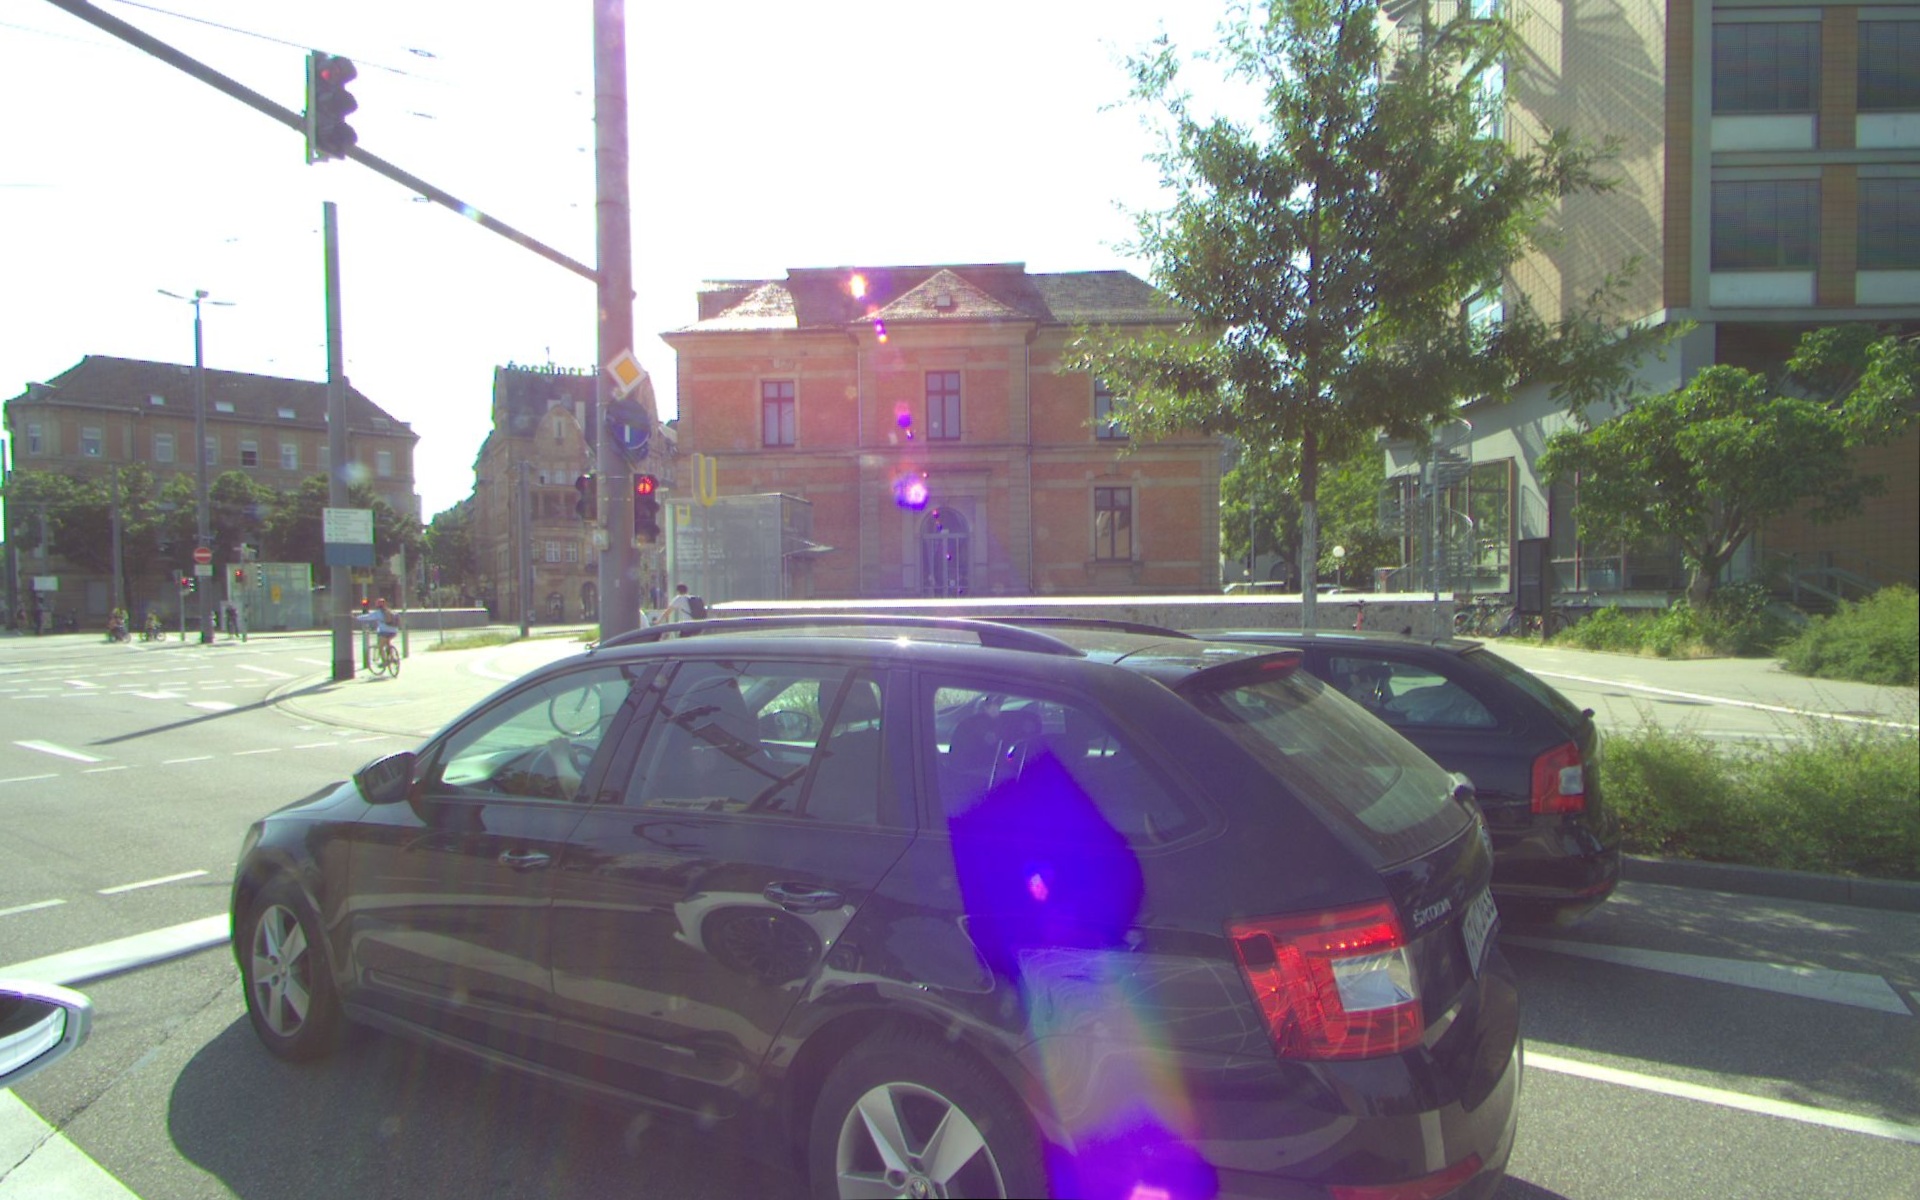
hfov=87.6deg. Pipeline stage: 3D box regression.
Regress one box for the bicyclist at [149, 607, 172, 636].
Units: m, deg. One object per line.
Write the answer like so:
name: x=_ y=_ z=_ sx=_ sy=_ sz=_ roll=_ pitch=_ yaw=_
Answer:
bicyclist: x=-40.967 y=1.095 z=51.326 sx=0.919 sy=1.470 sz=1.242 roll=1 pitch=-1 yaw=-38

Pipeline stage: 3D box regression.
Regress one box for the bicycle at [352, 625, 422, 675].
bicycle: x=-13.125 y=1.122 z=22.908 sx=1.997 sy=1.029 sz=0.710 roll=-1 pitch=3 yaw=41

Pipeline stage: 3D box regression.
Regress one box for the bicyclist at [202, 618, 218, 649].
bicyclist: x=-39.892 y=1.789 z=53.250 sx=0.641 sy=1.642 sz=0.498 roll=0 pitch=-1 yaw=38

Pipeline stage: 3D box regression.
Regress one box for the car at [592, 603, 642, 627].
car: x=-19.243 y=0.819 z=56.347 sx=1.639 sy=1.331 sz=3.452 roll=-1 pitch=0 yaw=-1

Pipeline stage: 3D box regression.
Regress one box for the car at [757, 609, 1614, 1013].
car: x=1.064 y=0.823 z=5.660 sx=4.334 sy=1.449 sz=1.696 roll=0 pitch=2 yaw=32

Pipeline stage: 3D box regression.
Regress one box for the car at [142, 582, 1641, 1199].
car: x=-0.679 y=0.764 z=3.284 sx=4.710 sy=1.454 sz=1.628 roll=-1 pitch=-1 yaw=31

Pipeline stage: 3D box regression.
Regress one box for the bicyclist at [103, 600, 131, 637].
bicyclist: x=-42.095 y=0.936 z=49.979 sx=1.041 sy=1.843 sz=0.922 roll=-1 pitch=-2 yaw=42

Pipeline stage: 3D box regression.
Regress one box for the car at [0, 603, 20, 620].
car: x=-116.858 y=1.429 z=122.866 sx=2.094 sy=2.040 sz=3.962 roll=-1 pitch=0 yaw=-43

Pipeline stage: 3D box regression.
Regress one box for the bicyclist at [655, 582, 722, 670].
bicyclist: x=-4.841 y=0.471 z=17.834 sx=0.936 sy=1.507 sz=0.713 roll=-1 pitch=-2 yaw=32

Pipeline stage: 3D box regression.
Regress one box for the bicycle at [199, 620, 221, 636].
bicycle: x=-39.900 y=1.490 z=53.265 sx=1.567 sy=0.877 sz=0.498 roll=0 pitch=-1 yaw=38

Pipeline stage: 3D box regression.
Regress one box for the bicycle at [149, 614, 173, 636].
bicycle: x=-41.106 y=1.295 z=51.518 sx=0.919 sy=1.083 sz=2.819 roll=1 pitch=-1 yaw=-38

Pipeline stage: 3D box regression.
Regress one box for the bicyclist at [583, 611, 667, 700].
bicyclist: x=-4.266 y=0.683 z=12.728 sx=0.901 sy=1.043 sz=0.714 roll=-3 pitch=2 yaw=-24

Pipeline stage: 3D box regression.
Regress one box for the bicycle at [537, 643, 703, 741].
bicycle: x=-4.307 y=1.136 z=12.714 sx=1.887 sy=1.029 sz=0.714 roll=-3 pitch=2 yaw=-24

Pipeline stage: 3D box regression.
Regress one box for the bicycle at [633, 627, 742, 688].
bicycle: x=-4.868 y=1.005 z=17.839 sx=1.992 sy=1.028 sz=0.712 roll=-1 pitch=0 yaw=33

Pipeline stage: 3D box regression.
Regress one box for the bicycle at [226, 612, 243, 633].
bicycle: x=-39.048 y=1.219 z=53.899 sx=0.660 sy=1.083 sz=2.447 roll=1 pitch=-1 yaw=-35

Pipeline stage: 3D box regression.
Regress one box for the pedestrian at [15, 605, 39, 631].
pedestrian: x=-51.095 y=0.995 z=54.824 sx=0.699 sy=1.451 sz=0.614 roll=0 pitch=-1 yaw=-5

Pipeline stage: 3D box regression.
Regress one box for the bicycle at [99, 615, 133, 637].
bicycle: x=-42.229 y=1.330 z=50.089 sx=2.717 sy=1.083 sz=0.922 roll=-2 pitch=-2 yaw=42

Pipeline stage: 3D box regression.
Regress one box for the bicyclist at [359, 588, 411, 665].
bicyclist: x=-13.140 y=0.601 z=22.873 sx=0.864 sy=1.692 sz=0.710 roll=0 pitch=3 yaw=40

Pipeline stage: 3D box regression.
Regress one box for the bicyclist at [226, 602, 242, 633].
bicyclist: x=-39.007 y=0.931 z=53.840 sx=0.660 sy=1.645 sz=0.777 roll=1 pitch=0 yaw=-35
